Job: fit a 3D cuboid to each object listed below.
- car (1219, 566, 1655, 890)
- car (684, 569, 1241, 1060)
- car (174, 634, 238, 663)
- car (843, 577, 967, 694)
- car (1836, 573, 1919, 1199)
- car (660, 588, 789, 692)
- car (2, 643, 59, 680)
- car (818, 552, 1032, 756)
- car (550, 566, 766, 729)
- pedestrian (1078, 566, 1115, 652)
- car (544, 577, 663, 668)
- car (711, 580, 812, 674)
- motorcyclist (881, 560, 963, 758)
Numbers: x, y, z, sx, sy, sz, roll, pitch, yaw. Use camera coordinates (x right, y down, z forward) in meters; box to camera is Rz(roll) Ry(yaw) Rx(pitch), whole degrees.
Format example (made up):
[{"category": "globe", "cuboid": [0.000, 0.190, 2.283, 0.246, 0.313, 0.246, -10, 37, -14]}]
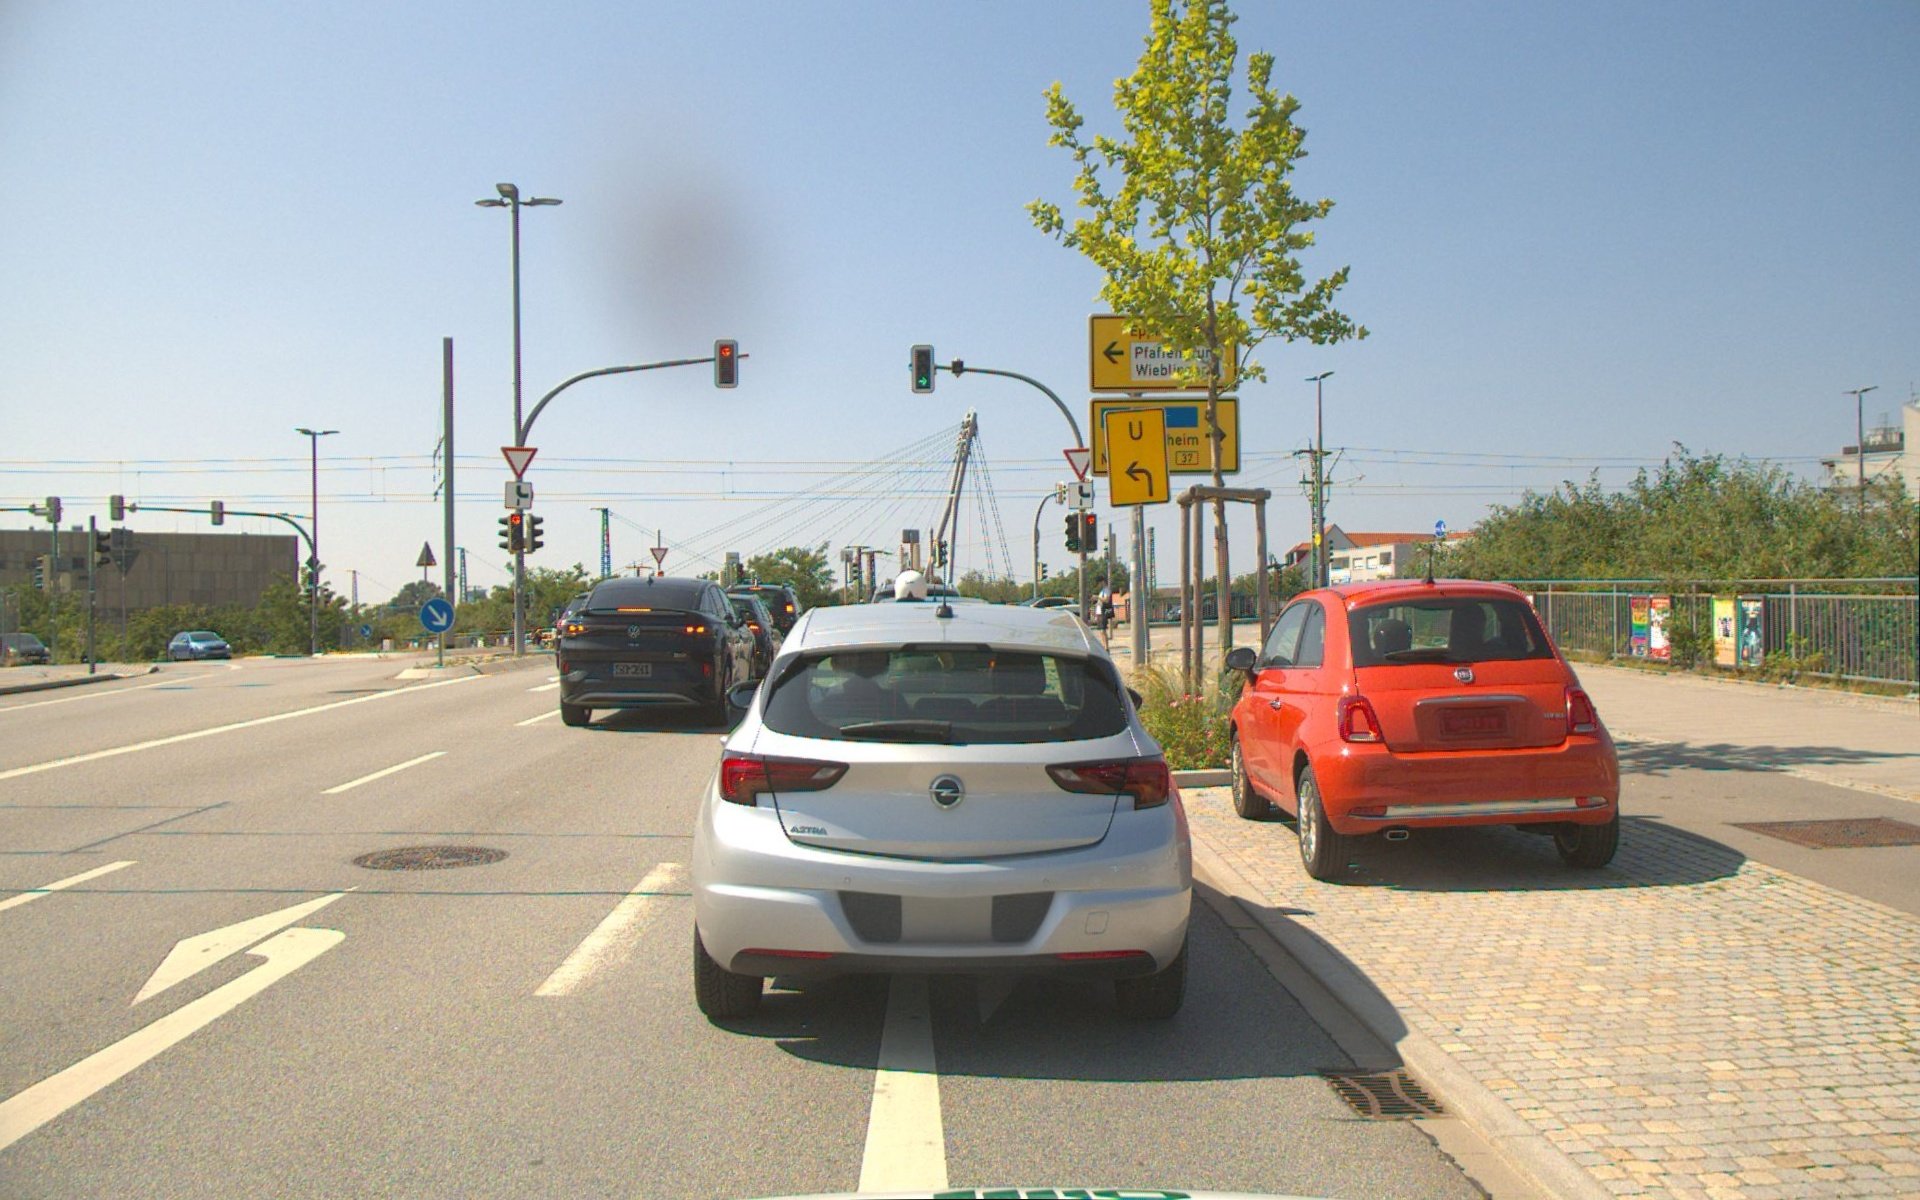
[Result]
[{"category": "car", "cuboid": [2.600, 0.616, 9.779, 1.577, 1.522, 3.352, -2, 0, 0]}, {"category": "car", "cuboid": [-0.093, 0.678, 7.125, 1.708, 1.503, 3.997, 1, 0, -3]}, {"category": "car", "cuboid": [-36.261, 2.316, 79.528, 1.806, 1.354, 3.941, 1, -2, -40]}, {"category": "car", "cuboid": [-0.779, 0.461, 24.935, 1.689, 1.591, 4.000, 1, 1, -1]}, {"category": "car", "cuboid": [2.935, 0.639, 1.918, 1.627, 1.451, 3.999, -1, 0, -1]}, {"category": "car", "cuboid": [-3.579, 0.585, 25.646, 1.543, 1.459, 3.785, 1, 0, -2]}, {"category": "car", "cuboid": [-41.142, 2.703, 73.209, 1.662, 1.502, 3.358, -1, 1, -39]}, {"category": "car", "cuboid": [-0.355, 0.472, 17.521, 1.953, 1.852, 4.401, 1, 1, -1]}, {"category": "car", "cuboid": [-3.398, 0.501, 19.376, 1.765, 1.670, 4.365, 1, 0, -1]}, {"category": "pedestrian", "cuboid": [3.080, 0.203, 37.398, 0.634, 1.868, 0.797, -3, 0, -3]}, {"category": "car", "cuboid": [-6.583, 0.397, 30.872, 1.565, 1.574, 3.760, 1, 0, -3]}, {"category": "car", "cuboid": [-3.725, 0.492, 31.532, 1.616, 1.643, 3.818, 1, 0, -3]}, {"category": "motorcyclist", "cuboid": [-0.288, 0.424, 12.248, 0.570, 1.413, 0.706, 1, -1, -3]}]
